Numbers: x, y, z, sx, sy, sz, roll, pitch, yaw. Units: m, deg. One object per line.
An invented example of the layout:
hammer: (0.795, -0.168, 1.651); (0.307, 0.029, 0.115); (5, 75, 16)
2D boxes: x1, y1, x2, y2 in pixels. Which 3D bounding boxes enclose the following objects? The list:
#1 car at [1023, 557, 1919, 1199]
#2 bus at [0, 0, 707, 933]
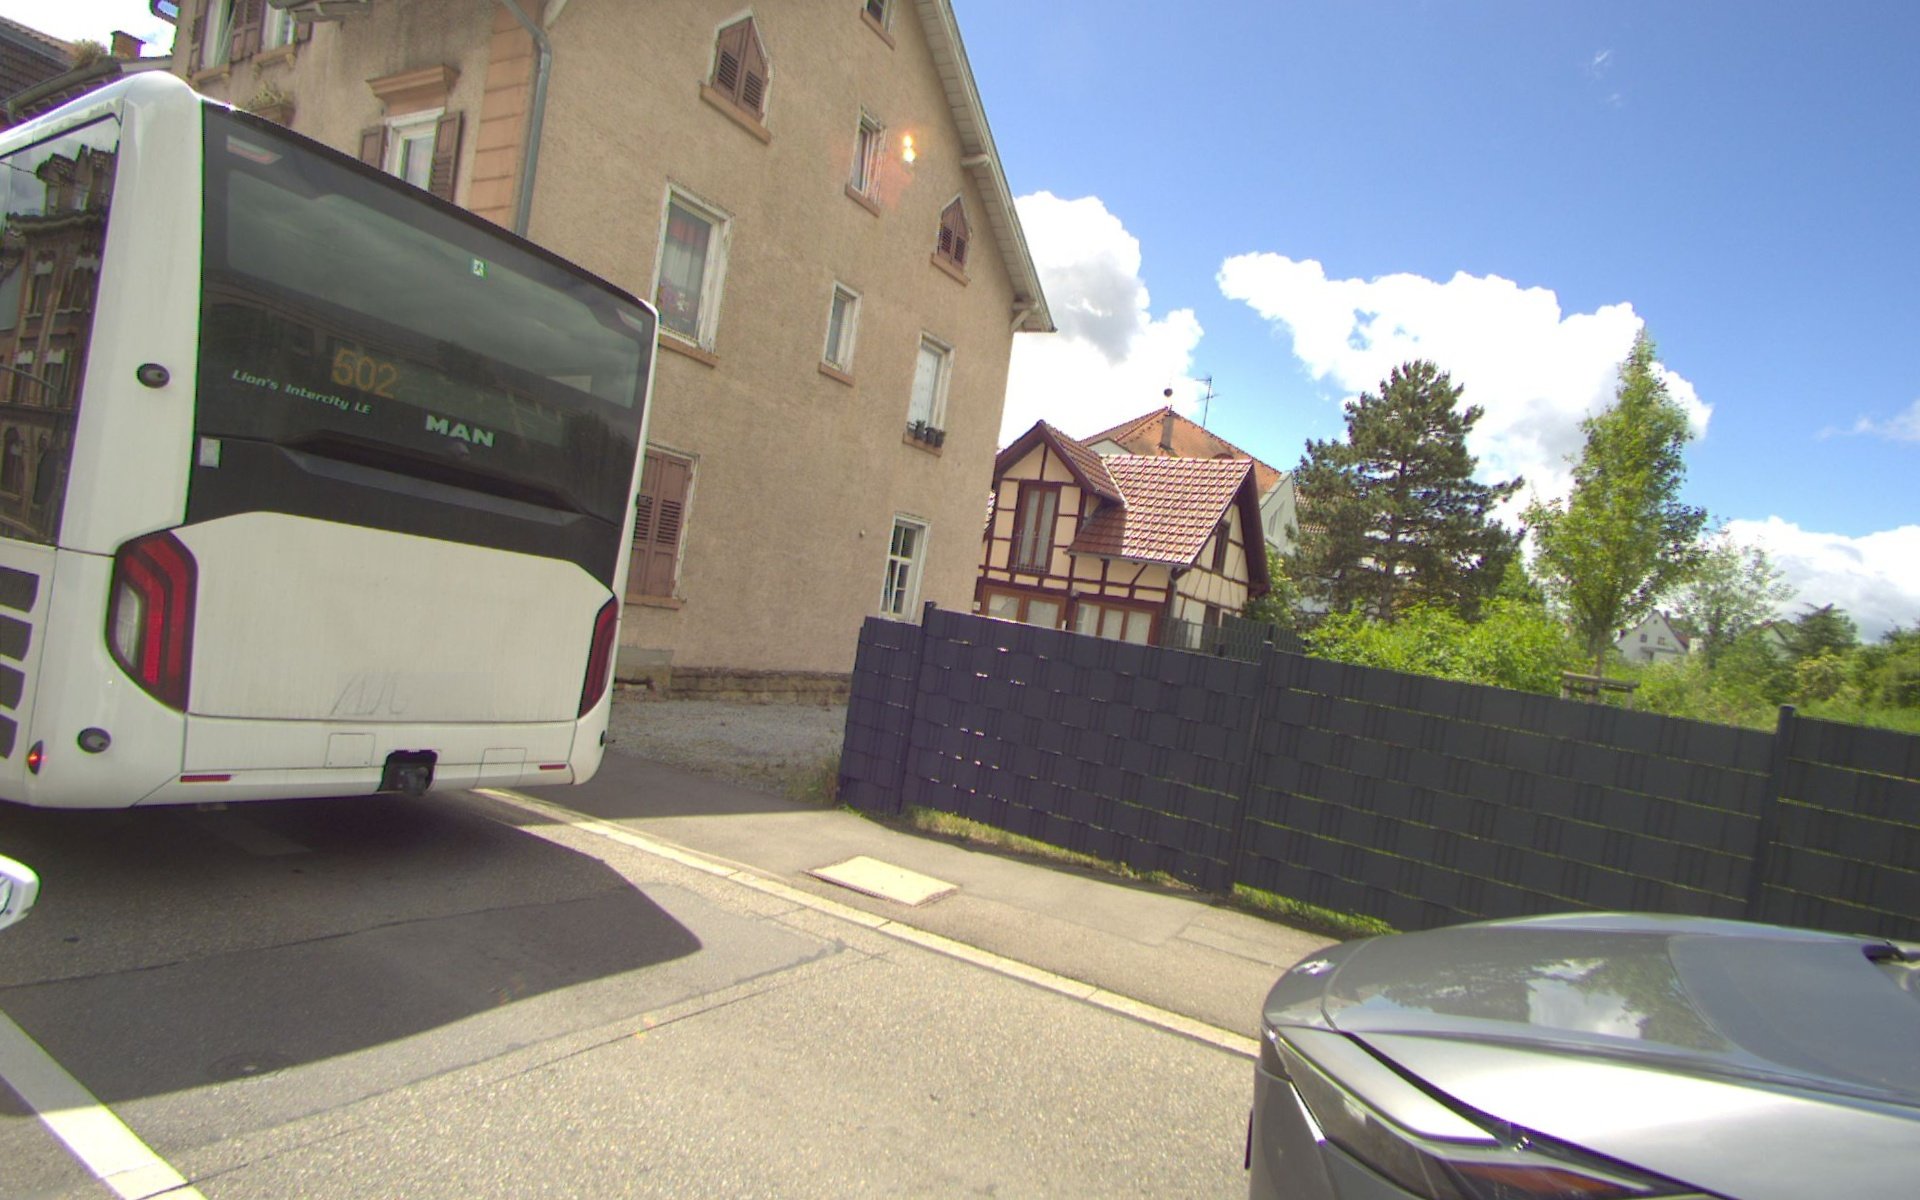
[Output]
car: (2.554, 1.092, 1.188); (4.605, 1.631, 1.924); (7, -2, 32)
bus: (-7.448, -0.952, 7.760); (12.255, 3.194, 2.676); (7, 0, 32)
